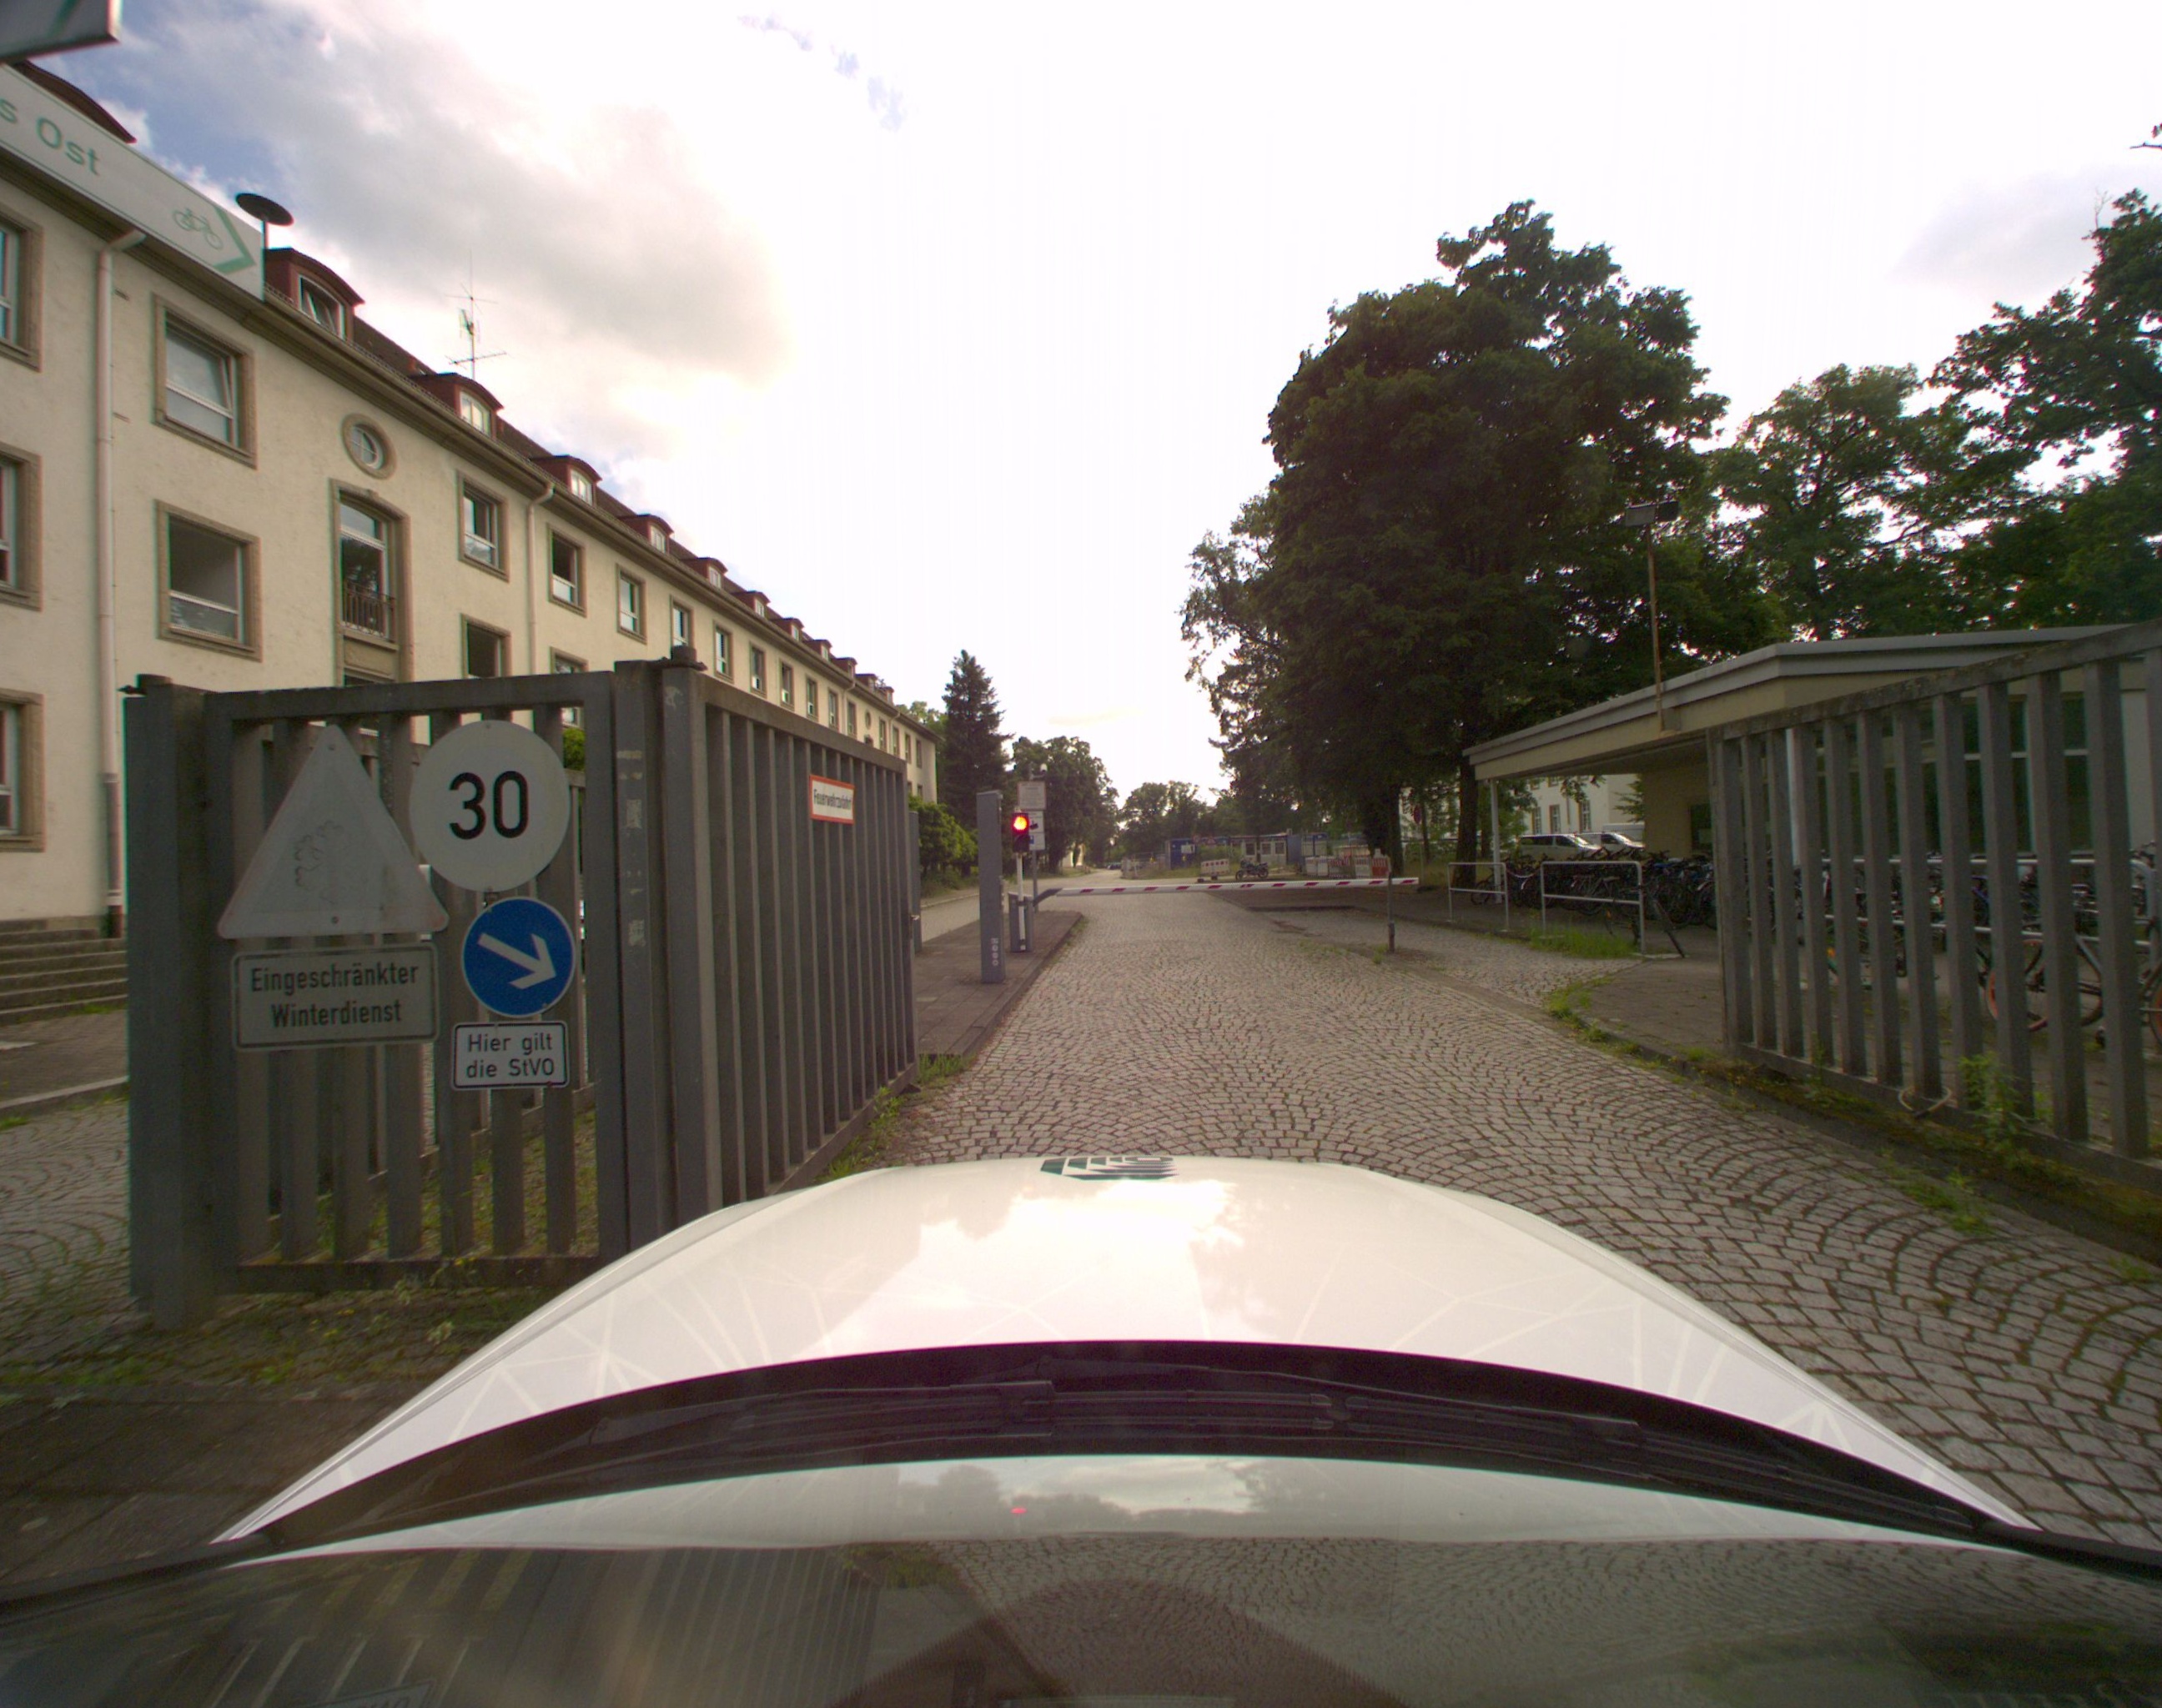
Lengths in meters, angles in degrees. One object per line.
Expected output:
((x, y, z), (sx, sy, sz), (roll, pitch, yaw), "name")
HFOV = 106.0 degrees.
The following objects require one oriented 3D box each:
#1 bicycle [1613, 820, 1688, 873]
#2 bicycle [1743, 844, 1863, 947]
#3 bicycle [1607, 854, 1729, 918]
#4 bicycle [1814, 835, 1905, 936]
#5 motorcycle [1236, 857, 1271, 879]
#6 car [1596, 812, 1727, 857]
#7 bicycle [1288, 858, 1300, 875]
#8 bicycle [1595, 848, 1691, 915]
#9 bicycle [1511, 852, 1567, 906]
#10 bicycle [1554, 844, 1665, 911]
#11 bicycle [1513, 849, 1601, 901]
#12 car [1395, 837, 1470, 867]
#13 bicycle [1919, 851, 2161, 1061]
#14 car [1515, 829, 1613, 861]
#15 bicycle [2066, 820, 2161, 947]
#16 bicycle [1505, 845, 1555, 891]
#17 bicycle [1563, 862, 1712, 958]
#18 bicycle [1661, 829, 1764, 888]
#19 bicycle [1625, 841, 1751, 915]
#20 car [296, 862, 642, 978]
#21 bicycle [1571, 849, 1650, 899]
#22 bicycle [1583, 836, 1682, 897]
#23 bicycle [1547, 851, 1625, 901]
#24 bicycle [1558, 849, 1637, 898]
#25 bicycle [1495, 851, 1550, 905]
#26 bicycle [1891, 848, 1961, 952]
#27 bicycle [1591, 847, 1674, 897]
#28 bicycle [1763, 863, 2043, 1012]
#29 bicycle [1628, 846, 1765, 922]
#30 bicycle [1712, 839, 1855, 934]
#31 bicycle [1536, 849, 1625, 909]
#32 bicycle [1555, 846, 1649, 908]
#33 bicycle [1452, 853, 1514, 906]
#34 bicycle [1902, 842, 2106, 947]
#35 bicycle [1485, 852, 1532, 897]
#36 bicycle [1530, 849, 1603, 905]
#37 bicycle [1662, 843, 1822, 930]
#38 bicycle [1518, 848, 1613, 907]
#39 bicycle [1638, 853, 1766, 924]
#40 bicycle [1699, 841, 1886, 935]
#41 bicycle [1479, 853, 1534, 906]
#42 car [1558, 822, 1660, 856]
((13.180, -0.142, 18.902), (0.369, 1.128, 1.898), (-3, -2, 1), "bicycle")
((9.214, 0.506, 10.381), (1.656, 1.171, 0.432), (-3, -3, -25), "bicycle")
((10.412, 0.567, 14.462), (1.978, 1.029, 0.400), (-2, -3, -9), "bicycle")
((9.620, 0.366, 10.047), (1.660, 1.171, 0.431), (-1, -4, -36), "bicycle")
((10.517, 0.867, 49.682), (1.950, 1.195, 0.461), (-4, 4, 1), "motorcycle")
((35.163, -1.135, 49.580), (2.005, 2.308, 6.142), (-1, -2, -28), "car")
((13.377, 0.781, 51.128), (0.330, 1.008, 1.726), (-3, -3, 2), "bicycle")
((10.407, 0.506, 15.075), (1.704, 1.160, 0.399), (-2, -3, -17), "bicycle")
((10.281, 0.554, 18.285), (1.387, 1.171, 0.355), (-1, -3, -30), "bicycle")
((10.141, 0.449, 15.650), (1.800, 1.171, 0.581), (-2, -3, -9), "bicycle")
((11.072, 0.520, 19.011), (0.446, 1.119, 1.785), (-2, -3, -22), "bicycle")
((23.855, -0.142, 55.406), (4.200, 1.820, 2.002), (-2, -2, 4), "car")
((6.426, 0.581, 5.156), (0.499, 1.171, 1.717), (-3, 0, 3), "bicycle")
((29.252, -0.503, 49.494), (2.003, 1.650, 4.799), (-1, -2, -25), "car")
((10.327, 0.272, 7.633), (0.431, 1.171, 1.732), (-4, 0, 16), "bicycle")
((12.292, 0.408, 22.347), (0.502, 1.171, 1.555), (-3, -3, 2), "bicycle")
((6.973, 0.661, 10.325), (0.727, 1.072, 1.715), (-3, -1, 3), "bicycle")
((12.898, 0.117, 16.698), (0.371, 1.119, 1.893), (-3, -2, -7), "bicycle")
((10.460, 0.411, 14.043), (1.978, 1.171, 0.400), (-2, -3, -9), "bicycle")
((-10.292, 1.065, 13.974), (4.422, 1.751, 1.858), (1, -1, -1), "car")
((12.417, 0.469, 19.162), (0.371, 1.119, 1.893), (-3, -1, -7), "bicycle")
((12.279, 0.246, 18.203), (0.371, 1.116, 1.893), (-26, 9, -6), "bicycle")
((11.628, 0.499, 18.829), (0.371, 1.067, 1.907), (-3, -1, -7), "bicycle")
((11.976, 0.474, 18.942), (0.370, 1.081, 1.893), (-3, -2, -7), "bicycle")
((10.104, 0.541, 18.643), (1.387, 1.171, 0.355), (-1, -3, -30), "bicycle")
((9.879, 0.507, 9.502), (1.662, 1.119, 0.431), (0, -4, -42), "bicycle")
((12.751, 0.439, 18.892), (0.371, 1.083, 1.893), (-3, -2, -7), "bicycle")
((6.732, 0.629, 6.812), (0.727, 1.057, 1.596), (-3, -1, 3), "bicycle")
((10.139, 0.495, 13.430), (2.013, 1.171, 0.400), (-1, -3, -6), "bicycle")
((9.260, 0.431, 10.760), (1.385, 1.171, 0.436), (-3, -3, 3), "bicycle")
((10.439, 0.522, 17.006), (1.749, 1.171, 0.494), (-2, -3, -18), "bicycle")
((10.546, 0.461, 16.486), (1.805, 1.171, 0.494), (-2, -3, -18), "bicycle")
((9.629, 0.598, 19.495), (1.382, 1.171, 0.431), (-3, 0, -19), "bicycle")
((10.572, 0.506, 9.420), (0.433, 1.084, 1.595), (-3, -6, 2), "bicycle")
((11.749, 0.539, 22.410), (0.502, 1.086, 1.587), (-3, 3, 2), "bicycle")
((10.724, 0.510, 18.008), (1.376, 1.171, 0.358), (-3, -3, -6), "bicycle")
((9.818, 0.480, 12.122), (1.944, 1.171, 0.485), (-3, -3, -3), "bicycle")
((10.467, 0.500, 17.598), (1.796, 1.171, 0.358), (-3, -3, -4), "bicycle")
((9.849, 0.547, 12.931), (1.766, 1.031, 0.353), (-3, -3, -4), "bicycle")
((9.926, 0.478, 11.397), (2.063, 1.171, 0.486), (-3, -3, 1), "bicycle")
((9.941, 0.580, 19.010), (1.387, 1.171, 0.355), (-1, -3, -30), "bicycle")
((32.070, -0.879, 49.619), (2.003, 1.789, 4.799), (-1, -2, -25), "car")
